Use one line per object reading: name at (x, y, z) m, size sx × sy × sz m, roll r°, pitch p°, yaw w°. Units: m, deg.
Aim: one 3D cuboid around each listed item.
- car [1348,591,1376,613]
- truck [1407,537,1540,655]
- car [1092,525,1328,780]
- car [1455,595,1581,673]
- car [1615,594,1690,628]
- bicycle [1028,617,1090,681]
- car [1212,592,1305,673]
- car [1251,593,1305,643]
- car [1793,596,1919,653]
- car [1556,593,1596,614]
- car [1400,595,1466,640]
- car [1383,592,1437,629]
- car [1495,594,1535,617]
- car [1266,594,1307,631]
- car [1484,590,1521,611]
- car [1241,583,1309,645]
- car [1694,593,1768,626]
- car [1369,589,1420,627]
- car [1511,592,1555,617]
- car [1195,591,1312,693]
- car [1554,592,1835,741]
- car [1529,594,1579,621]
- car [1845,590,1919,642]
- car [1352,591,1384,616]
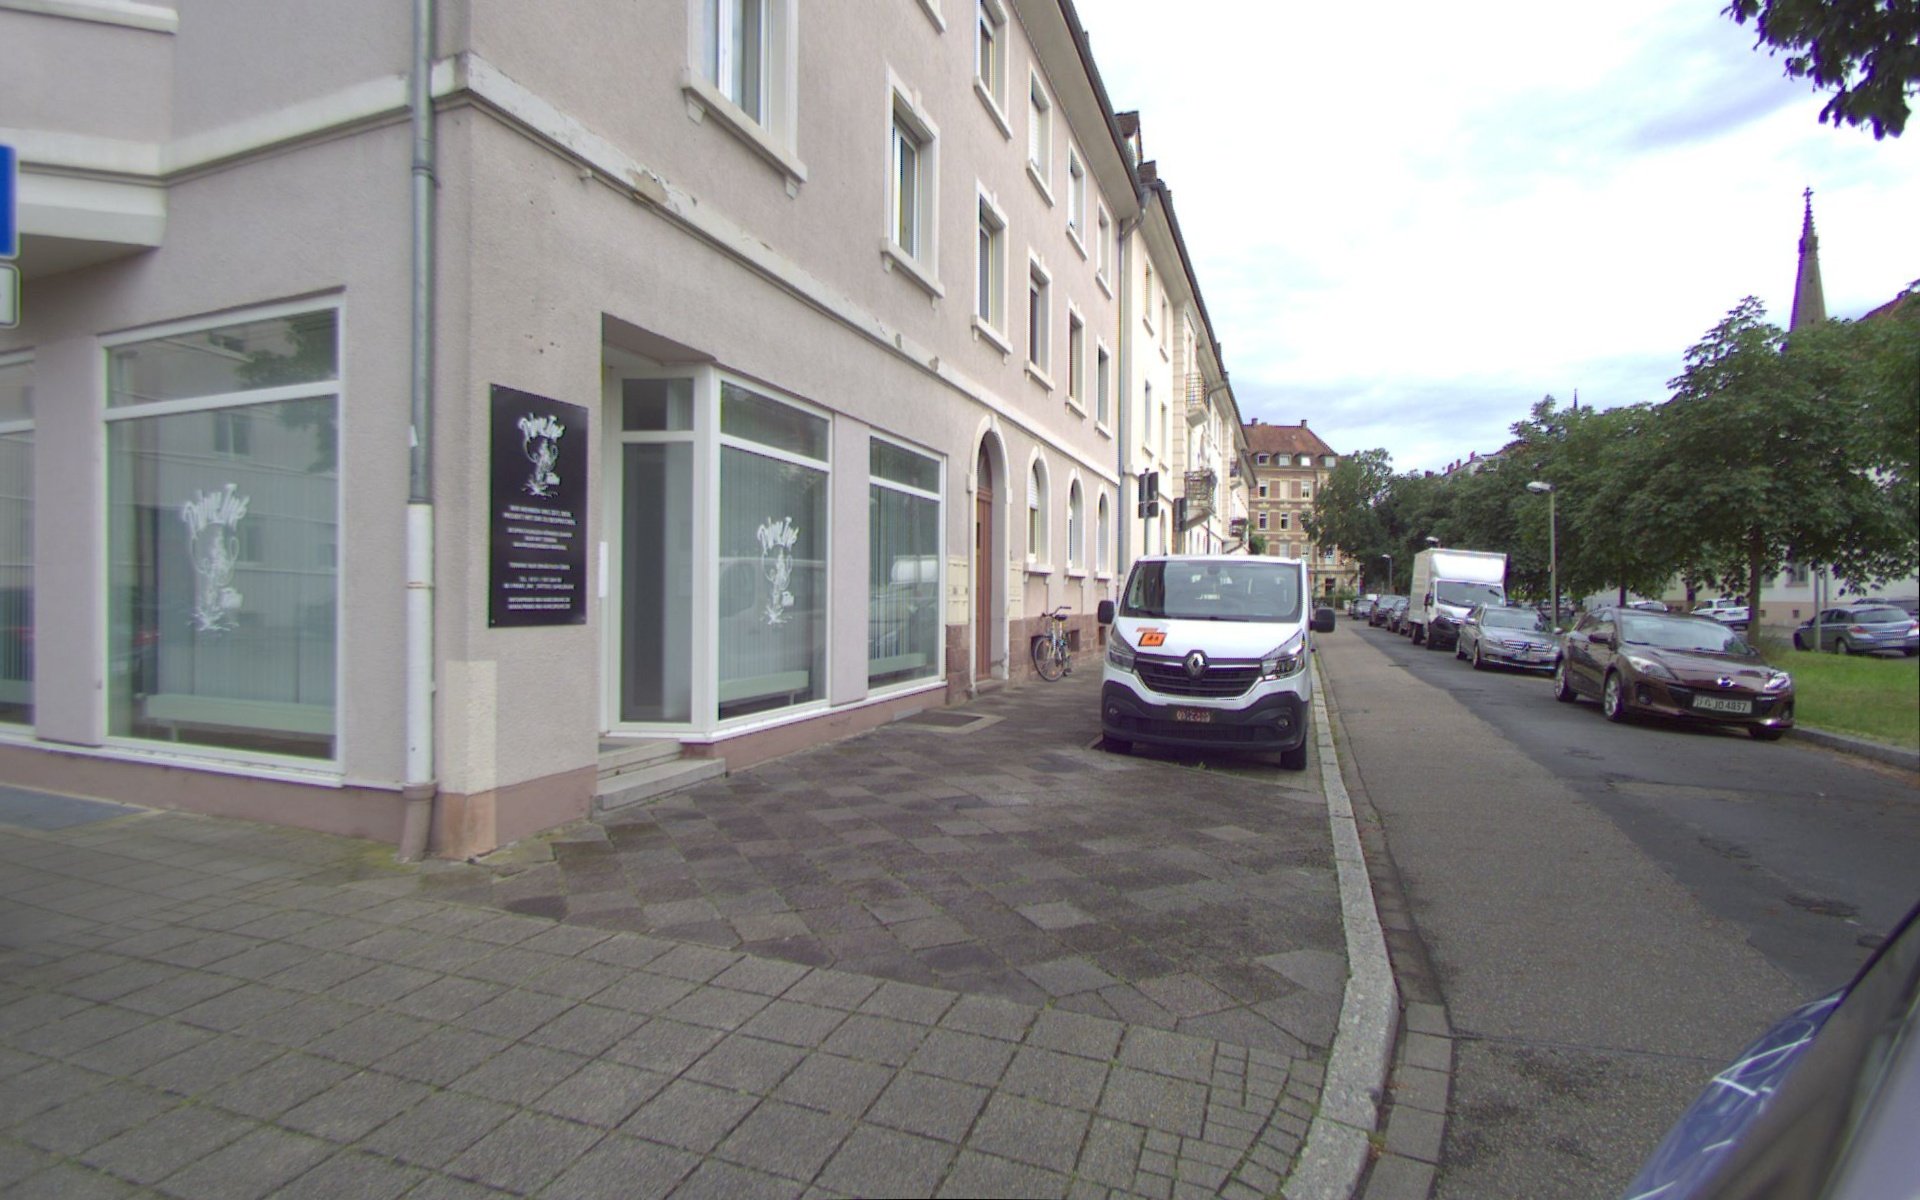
car at (32.566, 0.151, 82.095) m, size 1.622 × 1.599 × 4.186 m, roll 4°, pitch 1°, yaw 17°
truck at (15.438, -0.131, 30.919) m, size 2.416 × 2.993 × 7.067 m, roll 5°, pitch 2°, yaw 19°
car at (2.827, 0.392, 10.723) m, size 1.860 × 2.021 × 4.981 m, roll 1°, pitch 0°, yaw 19°
car at (12.745, 0.706, 23.386) m, size 1.695 × 1.476 × 4.420 m, roll 5°, pitch 1°, yaw 19°
car at (31.702, 0.483, 46.441) m, size 1.782 × 1.507 × 3.981 m, roll -1°, pitch 0°, yaw 19°
bicycle at (1.610, 0.749, 16.197) m, size 0.444 × 0.903 × 2.156 m, roll 1°, pitch 1°, yaw 20°
car at (6.508, 0.617, 21.780) m, size 1.672 × 1.472 × 4.516 m, roll 3°, pitch 1°, yaw 19°
car at (12.177, 0.645, 38.627) m, size 1.754 × 1.658 × 4.102 m, roll 4°, pitch 1°, yaw 19°
car at (25.775, 0.653, 28.843) m, size 1.782 × 1.507 × 3.981 m, roll -1°, pitch 0°, yaw 19°
car at (50.544, 0.260, 83.142) m, size 1.945 × 1.660 × 3.981 m, roll -1°, pitch 0°, yaw 19°
car at (18.115, 0.617, 38.923) m, size 1.622 × 1.533 × 4.129 m, roll 4°, pitch 1°, yaw 17°
car at (19.624, 0.434, 44.273) m, size 1.622 × 1.533 × 4.129 m, roll 0°, pitch 0°, yaw 17°
car at (42.202, 0.389, 77.027) m, size 1.945 × 1.660 × 3.981 m, roll -1°, pitch 0°, yaw 19°
car at (15.390, 0.561, 47.600) m, size 1.666 × 1.533 × 3.930 m, roll 4°, pitch 1°, yaw 19°
car at (43.756, 0.049, 81.733) m, size 1.945 × 1.660 × 3.981 m, roll -1°, pitch 0°, yaw 19°
car at (10.190, 0.401, 32.628) m, size 1.919 × 1.807 × 4.160 m, roll 2°, pitch 1°, yaw 19°
car at (38.994, 0.457, 51.303) m, size 1.782 × 1.627 × 3.981 m, roll -1°, pitch 0°, yaw 19°
car at (21.866, 0.371, 51.058) m, size 1.762 × 1.729 × 4.292 m, roll 4°, pitch 1°, yaw 17°
car at (40.248, 0.284, 71.191) m, size 1.945 × 1.660 × 3.981 m, roll -1°, pitch 0°, yaw 19°
car at (4.998, 0.626, 17.347) m, size 1.670 × 1.472 × 3.882 m, roll 3°, pitch 1°, yaw 16°
car at (9.253, 0.712, 13.183) m, size 1.695 × 1.476 × 4.136 m, roll 5°, pitch 2°, yaw 19°
car at (37.981, 0.444, 64.784) m, size 1.945 × 1.660 × 3.981 m, roll -1°, pitch 0°, yaw 19°
car at (34.157, 0.545, 36.548) m, size 1.782 × 1.695 × 4.075 m, roll -4°, pitch -1°, yaw 19°
car at (27.866, 0.220, 69.205) m, size 1.622 × 1.599 × 4.186 m, roll 0°, pitch 0°, yaw 17°
